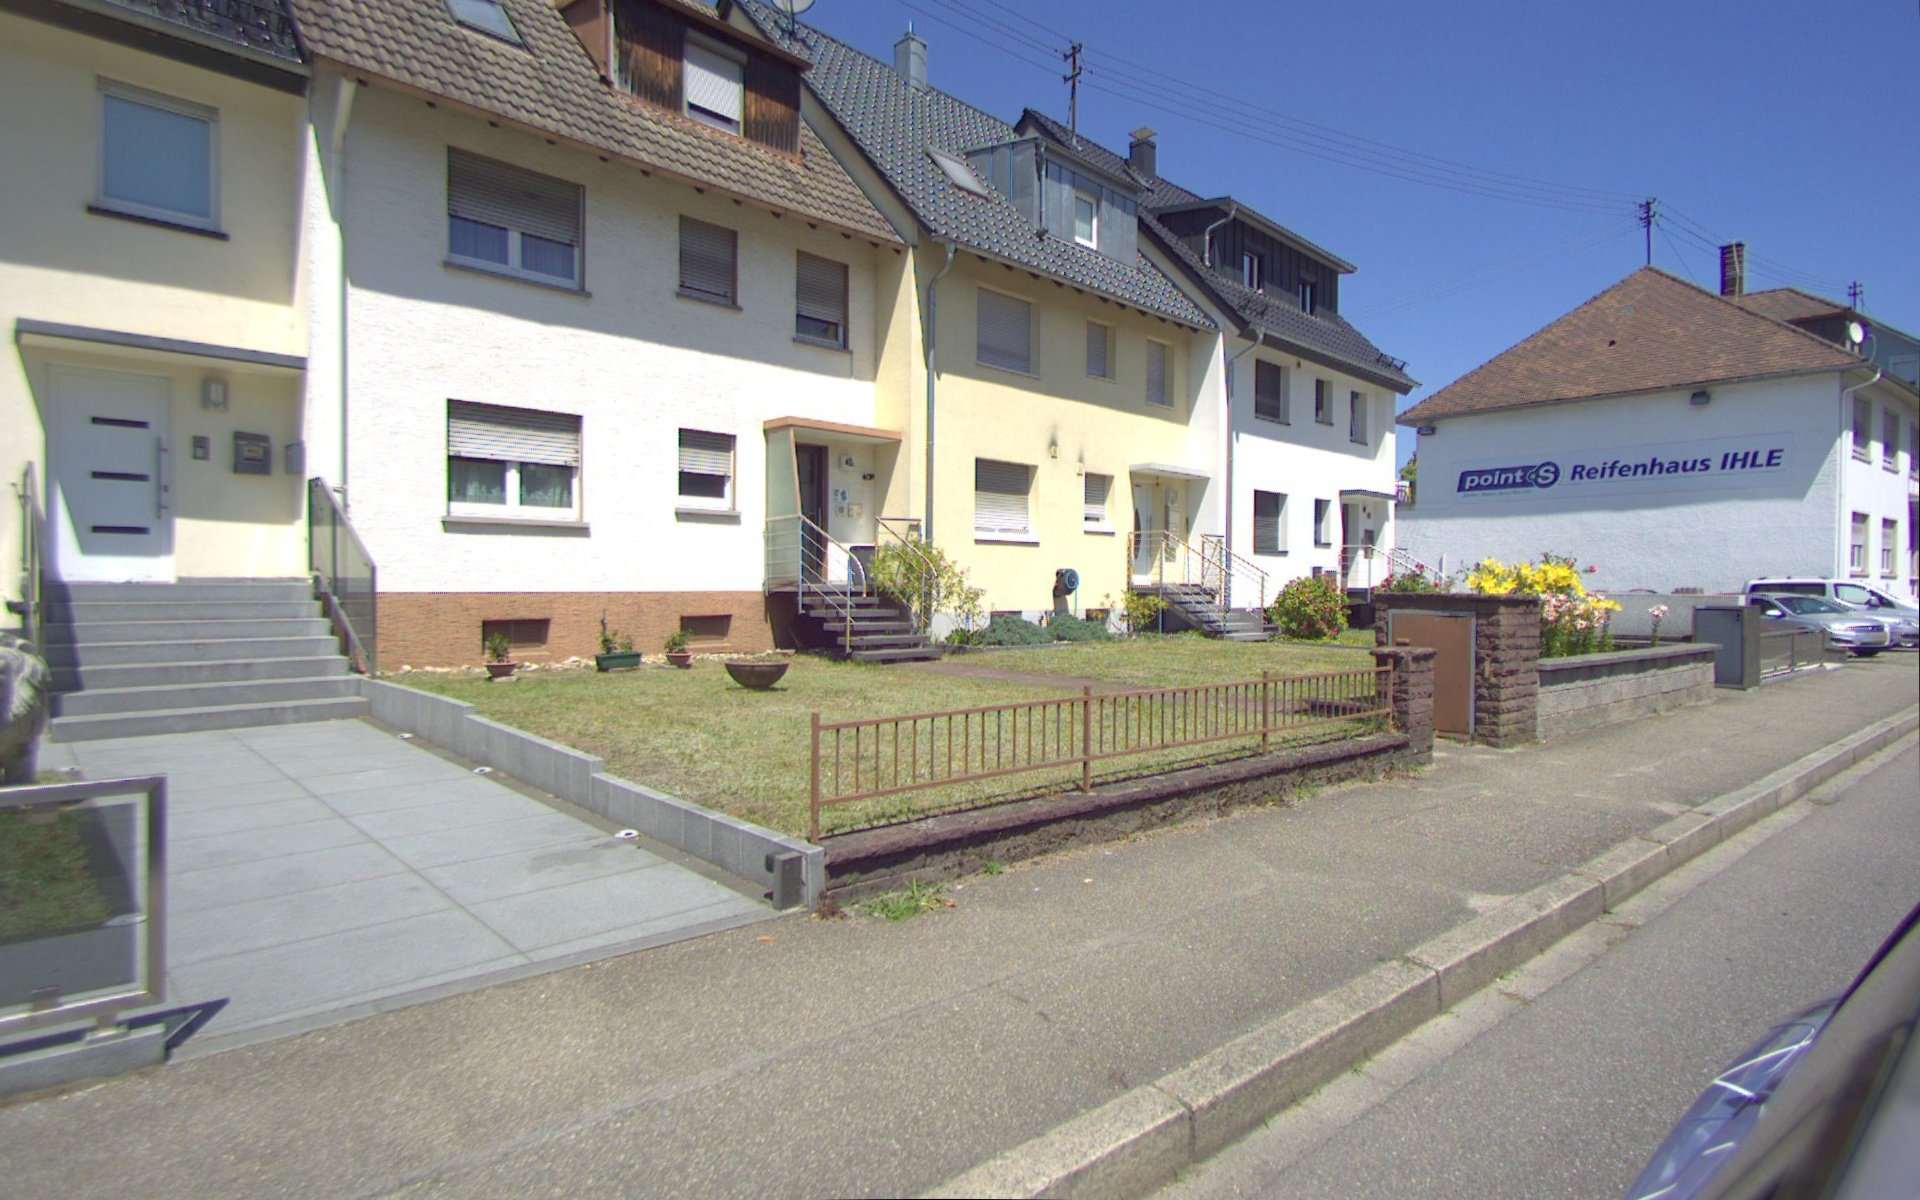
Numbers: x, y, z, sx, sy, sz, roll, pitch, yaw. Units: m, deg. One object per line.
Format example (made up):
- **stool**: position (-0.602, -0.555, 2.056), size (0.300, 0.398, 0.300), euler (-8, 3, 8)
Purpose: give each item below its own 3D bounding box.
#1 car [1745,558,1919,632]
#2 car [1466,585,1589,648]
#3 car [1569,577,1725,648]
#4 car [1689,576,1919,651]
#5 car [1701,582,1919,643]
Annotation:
- **car**: position (24.064, -0.092, 27.351), size (4.290, 1.854, 1.711), euler (-2, -2, 44)
- **car**: position (15.709, 0.414, 28.256), size (1.686, 1.582, 4.107), euler (-2, 0, 10)
- **car**: position (17.720, 0.297, 26.357), size (1.612, 1.663, 4.293), euler (-2, 0, 9)
- **car**: position (19.809, 0.294, 23.871), size (1.721, 1.567, 4.309), euler (-2, 0, -6)
- **car**: position (22.027, 0.341, 25.875), size (1.736, 1.427, 4.652), euler (0, -2, -36)
